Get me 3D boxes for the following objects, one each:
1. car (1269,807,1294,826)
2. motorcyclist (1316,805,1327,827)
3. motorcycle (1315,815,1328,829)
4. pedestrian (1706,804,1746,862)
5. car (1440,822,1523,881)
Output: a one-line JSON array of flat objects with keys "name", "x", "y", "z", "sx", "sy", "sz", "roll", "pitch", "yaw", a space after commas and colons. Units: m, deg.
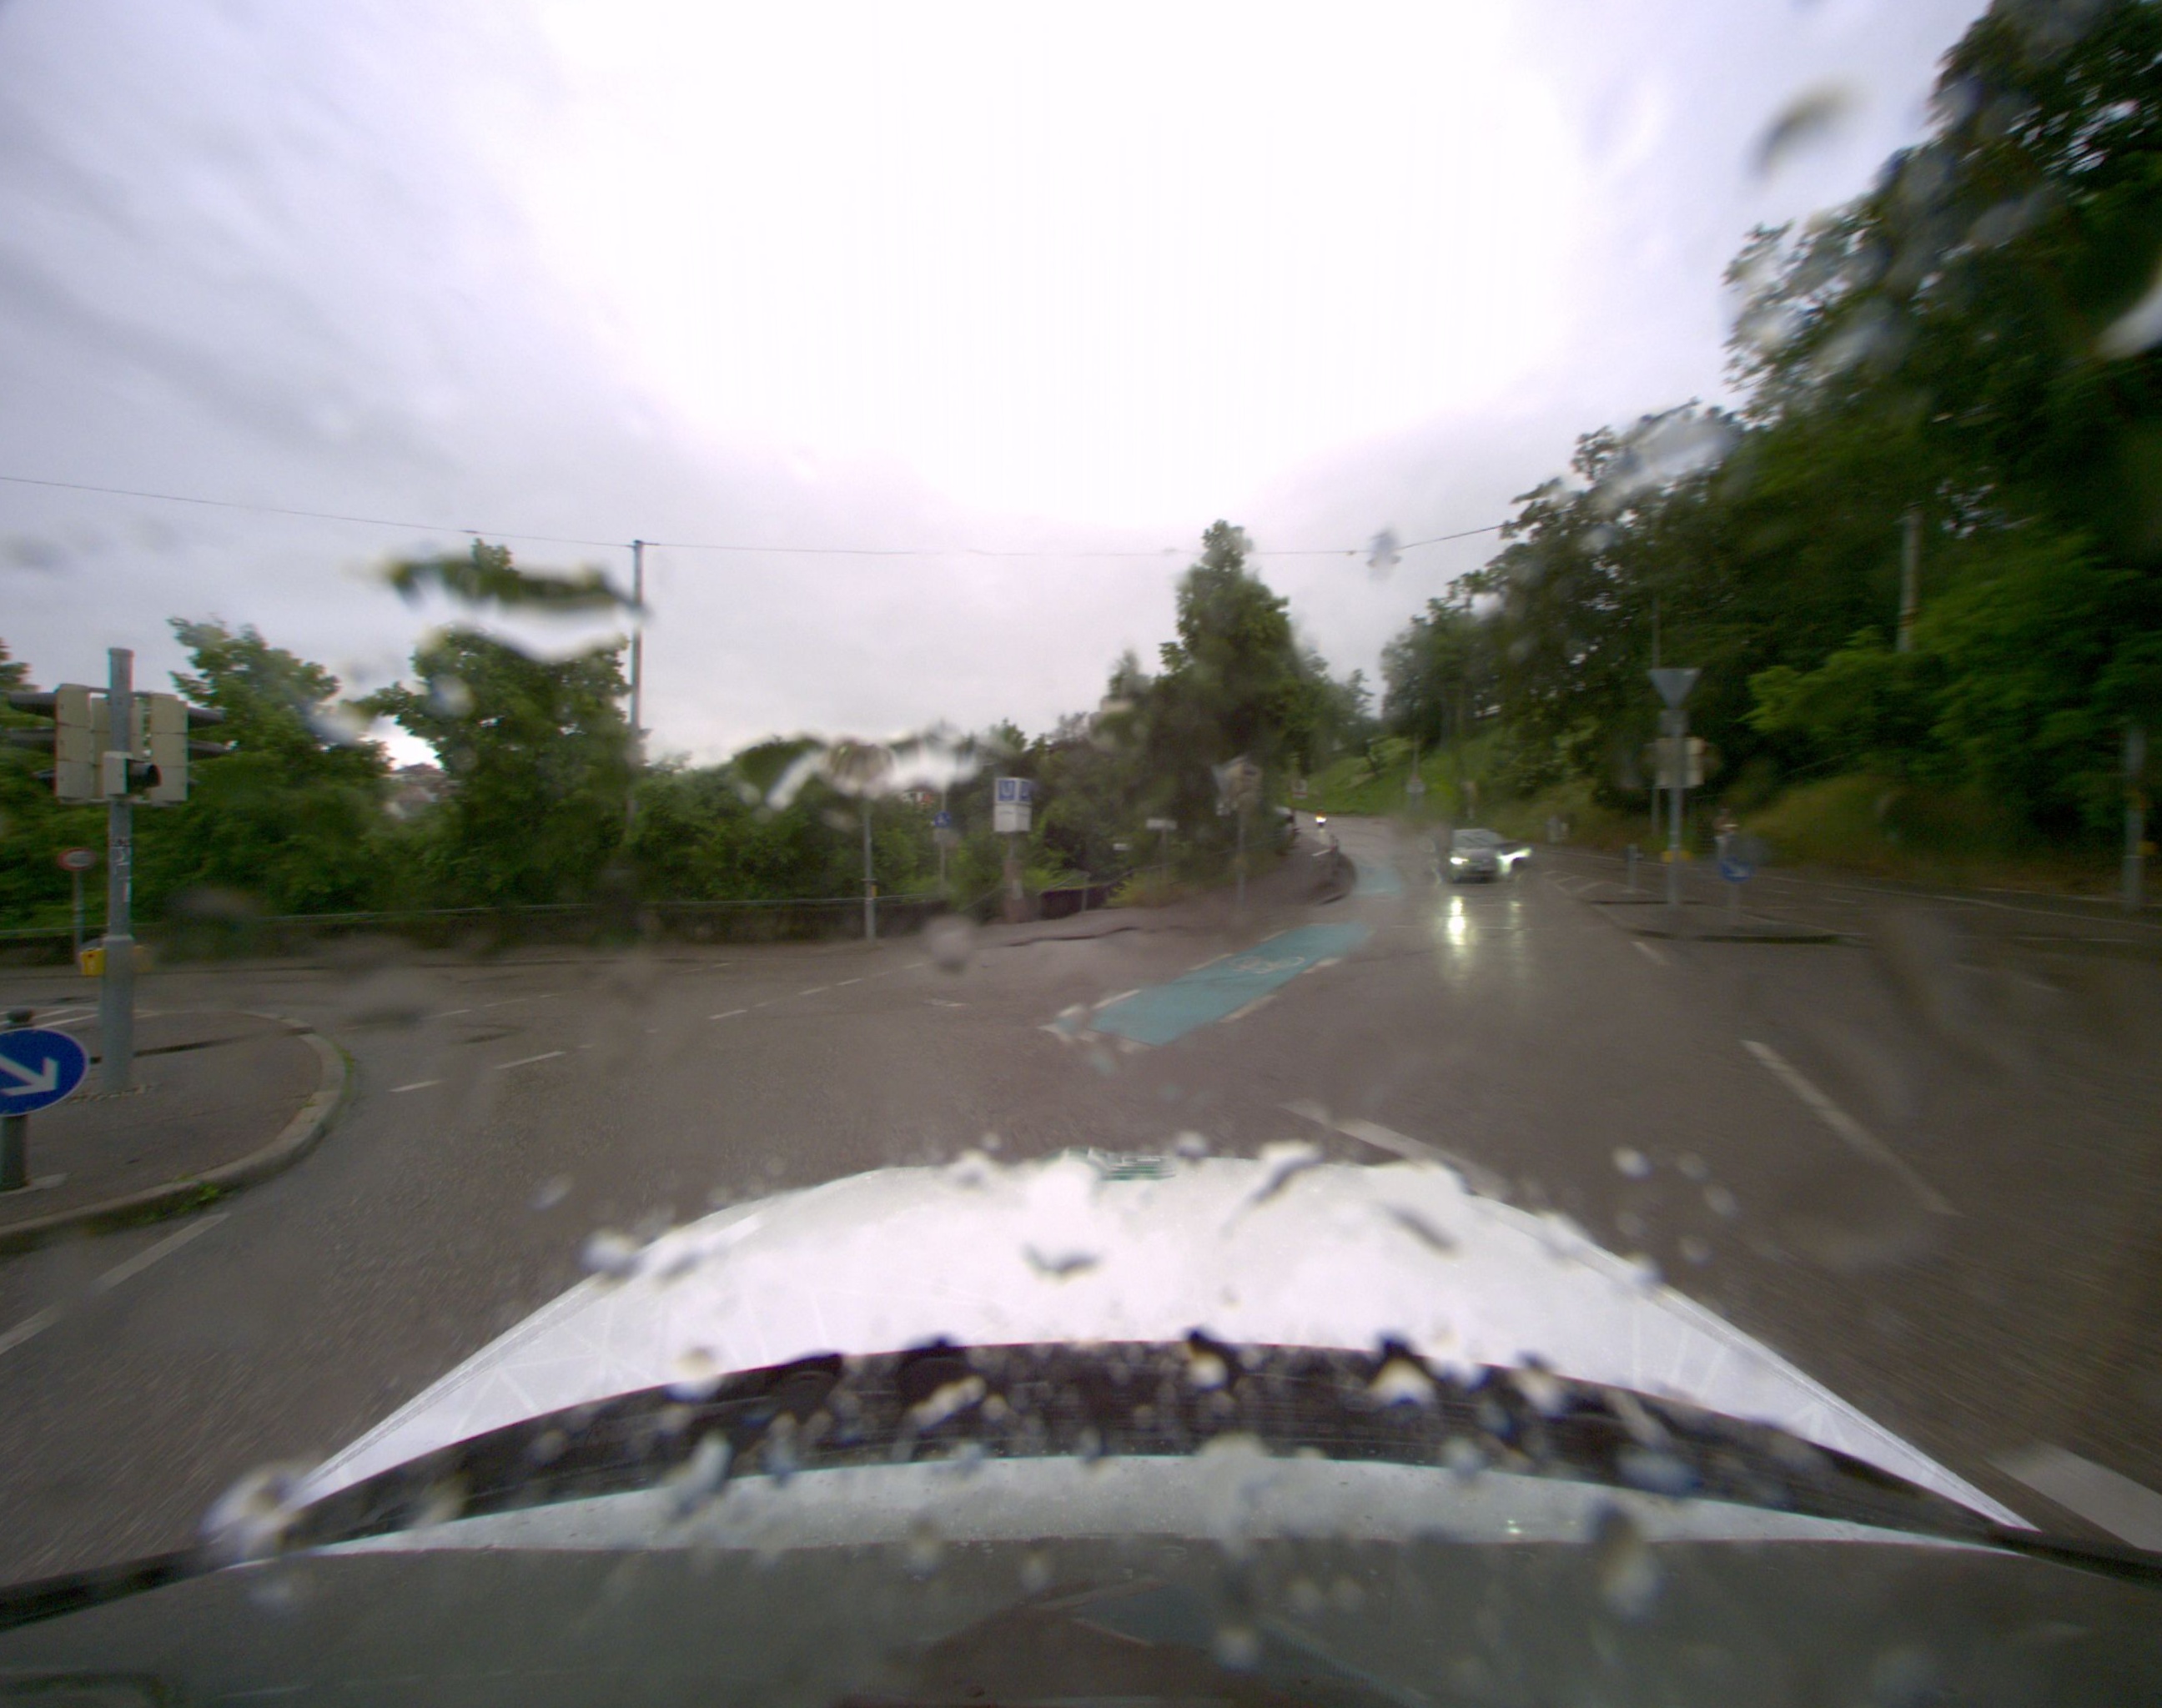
[{"name": "car", "x": 20.115, "y": -3.786, "z": 81.798, "sx": 1.827, "sy": 1.691, "sz": 4.008, "roll": -2, "pitch": 3, "yaw": 6}, {"name": "motorcyclist", "x": 21.225, "y": -3.392, "z": 71.954, "sx": 0.878, "sy": 1.873, "sz": 1.259, "roll": -1, "pitch": 3, "yaw": 13}, {"name": "motorcycle", "x": 21.151, "y": -2.809, "z": 71.611, "sx": 0.932, "sy": 1.143, "sz": 2.656, "roll": -1, "pitch": 3, "yaw": 13}, {"name": "pedestrian", "x": 19.768, "y": -0.646, "z": 24.973, "sx": 0.642, "sy": 1.752, "sz": 0.802, "roll": 0, "pitch": 3, "yaw": 14}, {"name": "car", "x": 11.609, "y": -0.145, "z": 23.887, "sx": 1.866, "sy": 1.521, "sz": 4.718, "roll": -2, "pitch": 1, "yaw": 23}]
